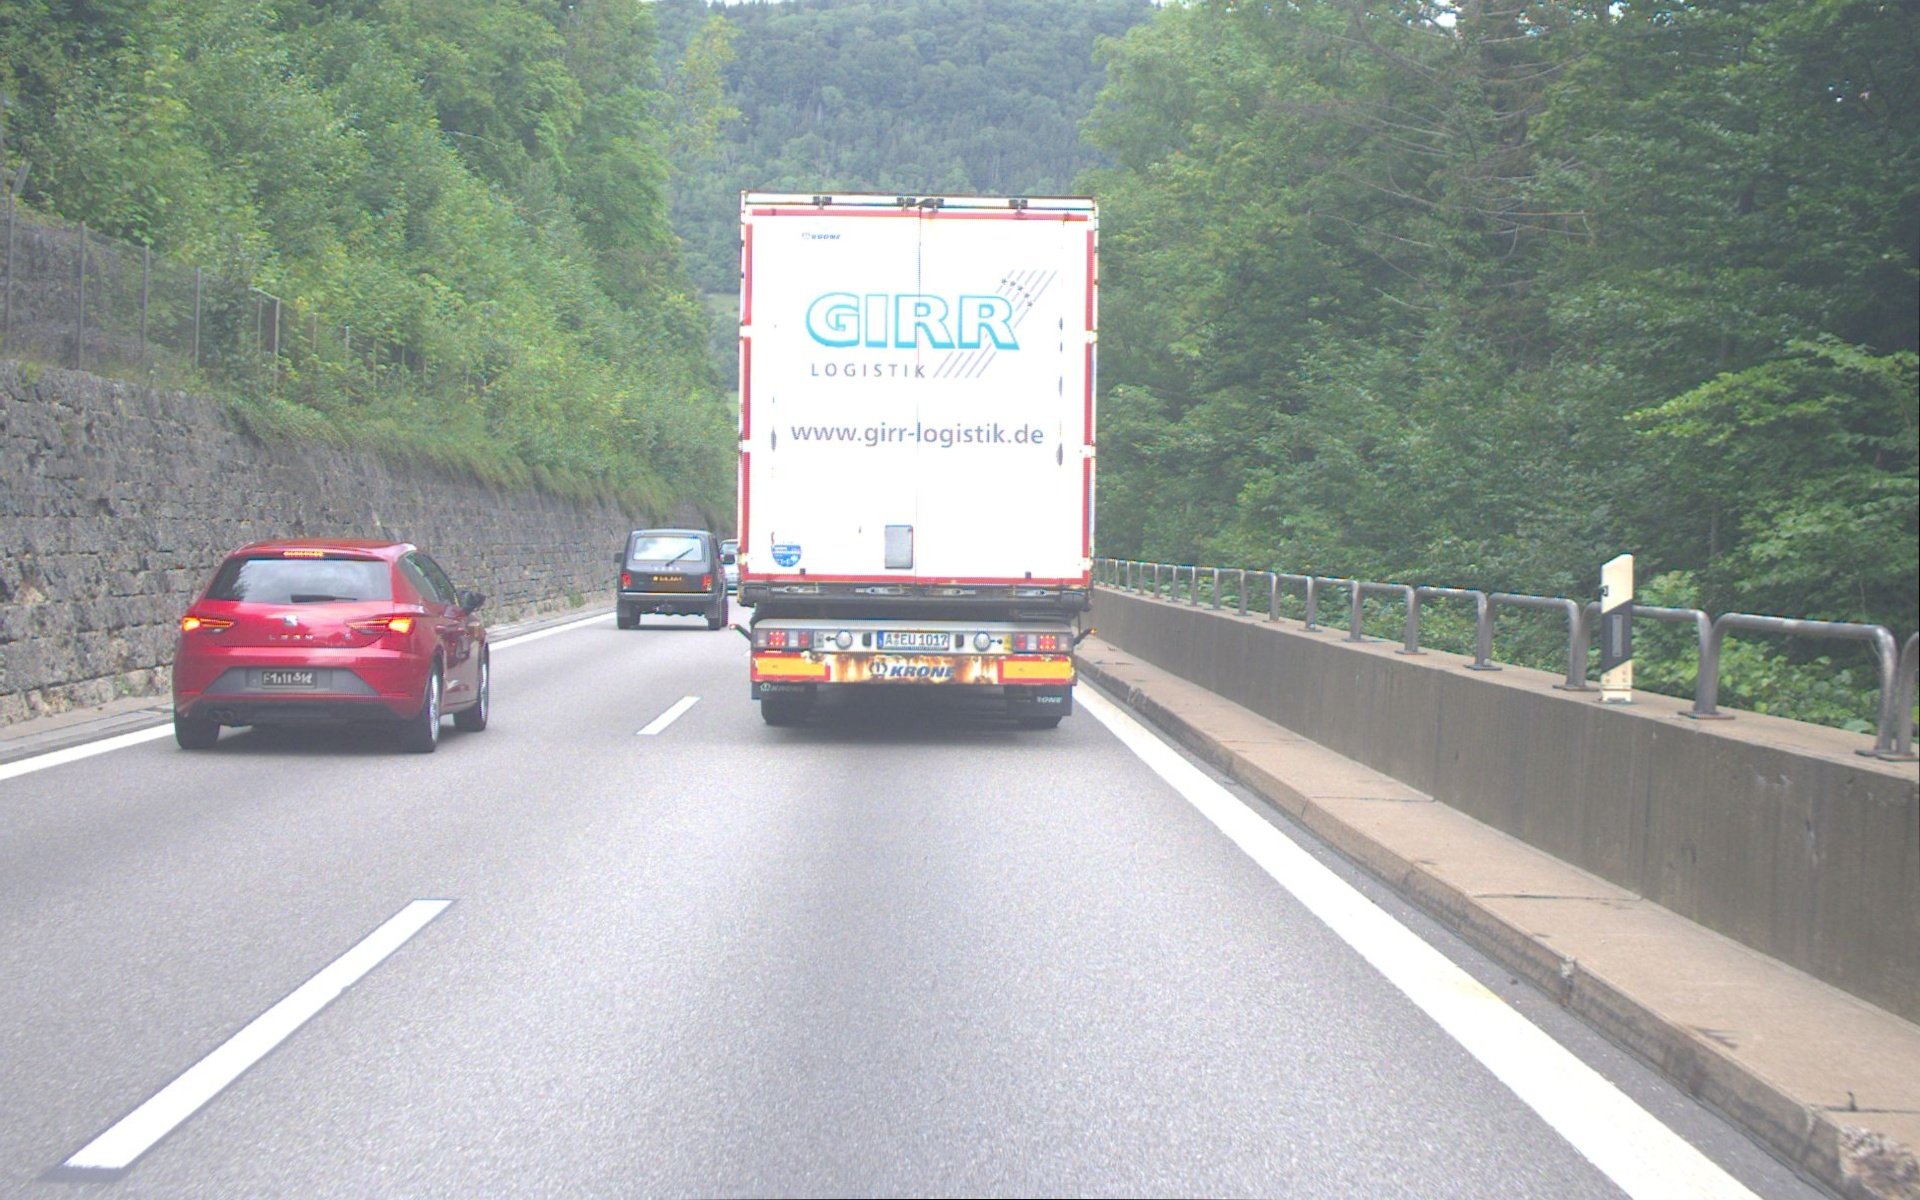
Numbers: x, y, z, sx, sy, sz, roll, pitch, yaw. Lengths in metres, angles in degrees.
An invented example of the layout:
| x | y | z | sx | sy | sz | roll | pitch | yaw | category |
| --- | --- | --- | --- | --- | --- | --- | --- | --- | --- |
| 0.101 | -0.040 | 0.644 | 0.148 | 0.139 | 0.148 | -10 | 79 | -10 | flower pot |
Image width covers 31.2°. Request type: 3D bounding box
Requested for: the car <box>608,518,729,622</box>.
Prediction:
| x | y | z | sx | sy | sz | roll | pitch | yaw | category |
| --- | --- | --- | --- | --- | --- | --- | --- | --- | --- |
| -4.725 | -0.495 | 56.128 | 1.669 | 1.633 | 4.068 | 0 | 1 | 0 | car |

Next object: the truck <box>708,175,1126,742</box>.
| x | y | z | sx | sy | sz | roll | pitch | yaw | category |
| --- | --- | --- | --- | --- | --- | --- | --- | --- | --- |
| -0.310 | -1.050 | 28.627 | 2.909 | 3.947 | 9.279 | 0 | 1 | 0 | truck |

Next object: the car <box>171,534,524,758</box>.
| x | y | z | sx | sy | sz | roll | pitch | yaw | category |
| --- | --- | --- | --- | --- | --- | --- | --- | --- | --- |
| -4.264 | 0.278 | 24.589 | 1.766 | 1.455 | 4.411 | 0 | 1 | 0 | car |

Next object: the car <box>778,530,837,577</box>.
| x | y | z | sx | sy | sz | roll | pitch | yaw | category |
| --- | --- | --- | --- | --- | --- | --- | --- | --- | --- |
| -5.243 | -1.613 | 118.802 | 1.917 | 1.589 | 4.179 | 0 | 1 | -1 | car |

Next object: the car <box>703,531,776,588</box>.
| x | y | z | sx | sy | sz | roll | pitch | yaw | category |
| --- | --- | --- | --- | --- | --- | --- | --- | --- | --- |
| -5.775 | -1.062 | 90.314 | 1.729 | 1.481 | 4.000 | 0 | 1 | -1 | car |
